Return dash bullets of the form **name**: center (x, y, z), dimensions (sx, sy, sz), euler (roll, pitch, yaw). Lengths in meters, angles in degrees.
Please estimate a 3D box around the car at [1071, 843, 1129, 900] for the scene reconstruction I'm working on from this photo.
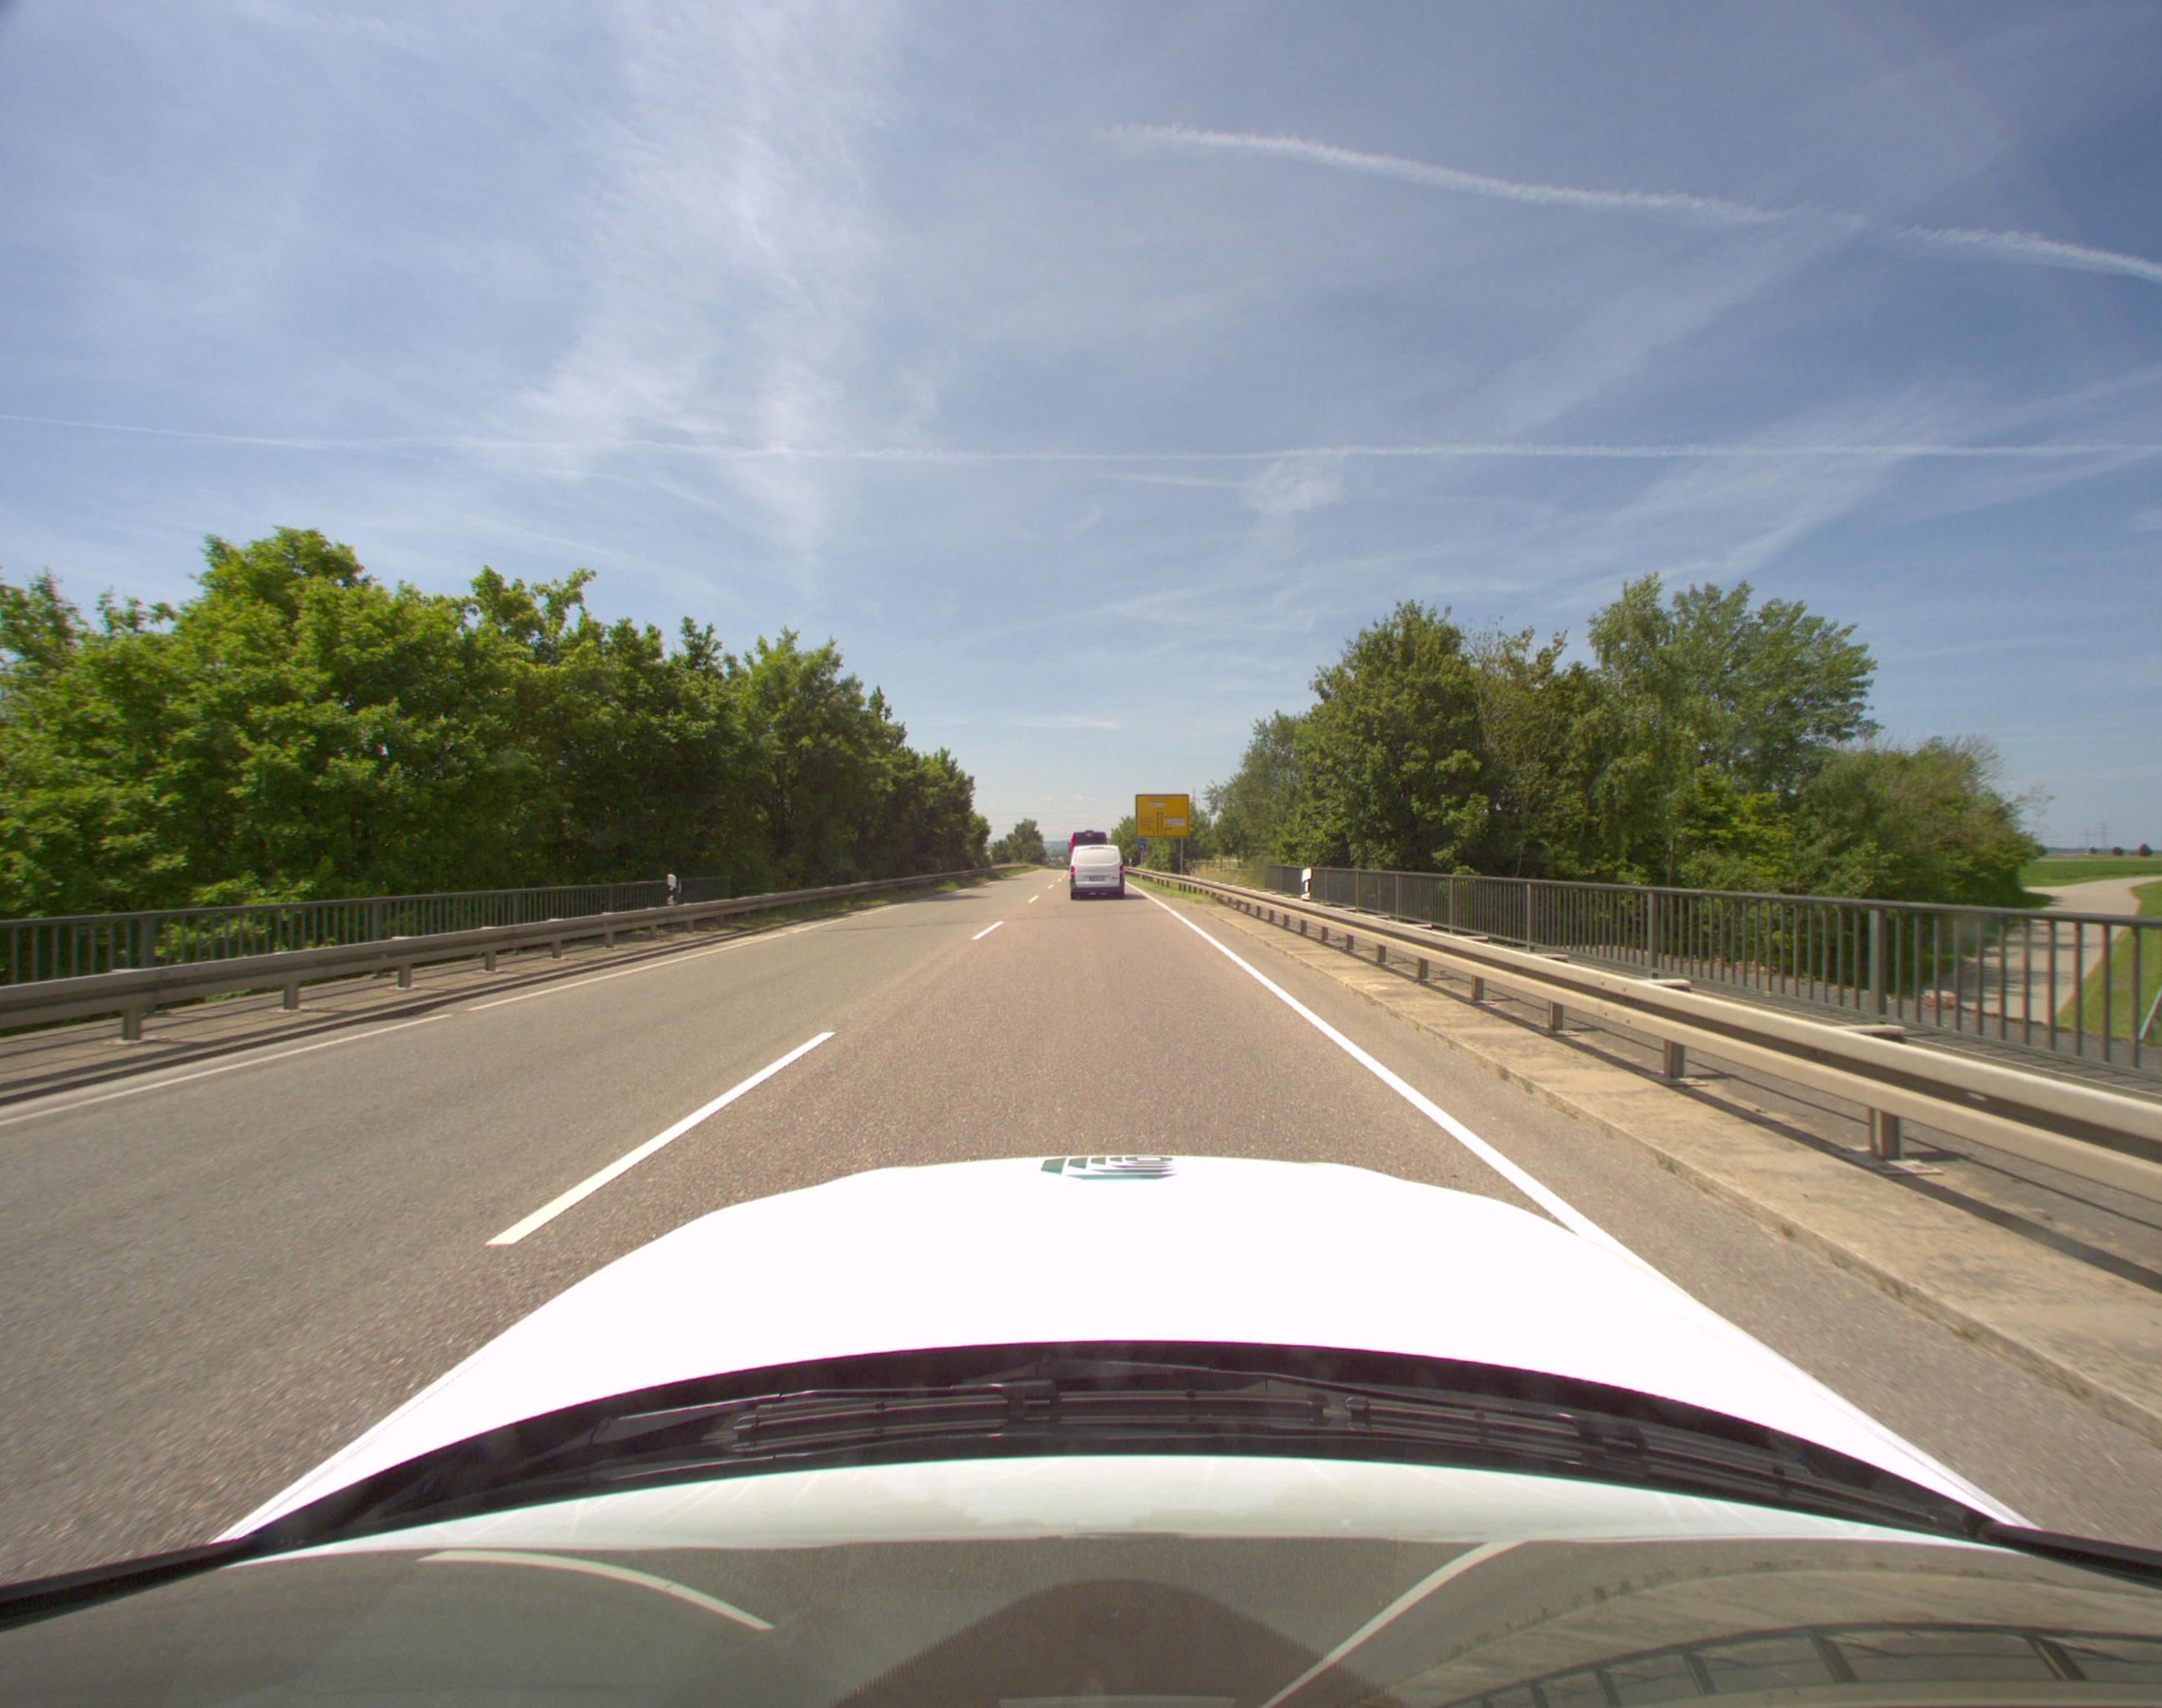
- **car**: center (0.624, 0.564, 29.180), dimensions (1.917, 1.889, 3.999), euler (0, 0, 0)

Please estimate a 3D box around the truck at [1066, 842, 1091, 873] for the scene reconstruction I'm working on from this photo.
- **truck**: center (-0.436, 0.445, 126.879), dimensions (3.477, 4.423, 14.899), euler (-1, 0, 0)

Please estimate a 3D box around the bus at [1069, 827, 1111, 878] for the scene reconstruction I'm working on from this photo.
- **bus**: center (0.531, -0.133, 61.901), dimensions (2.739, 3.353, 13.215), euler (-1, 0, -1)
